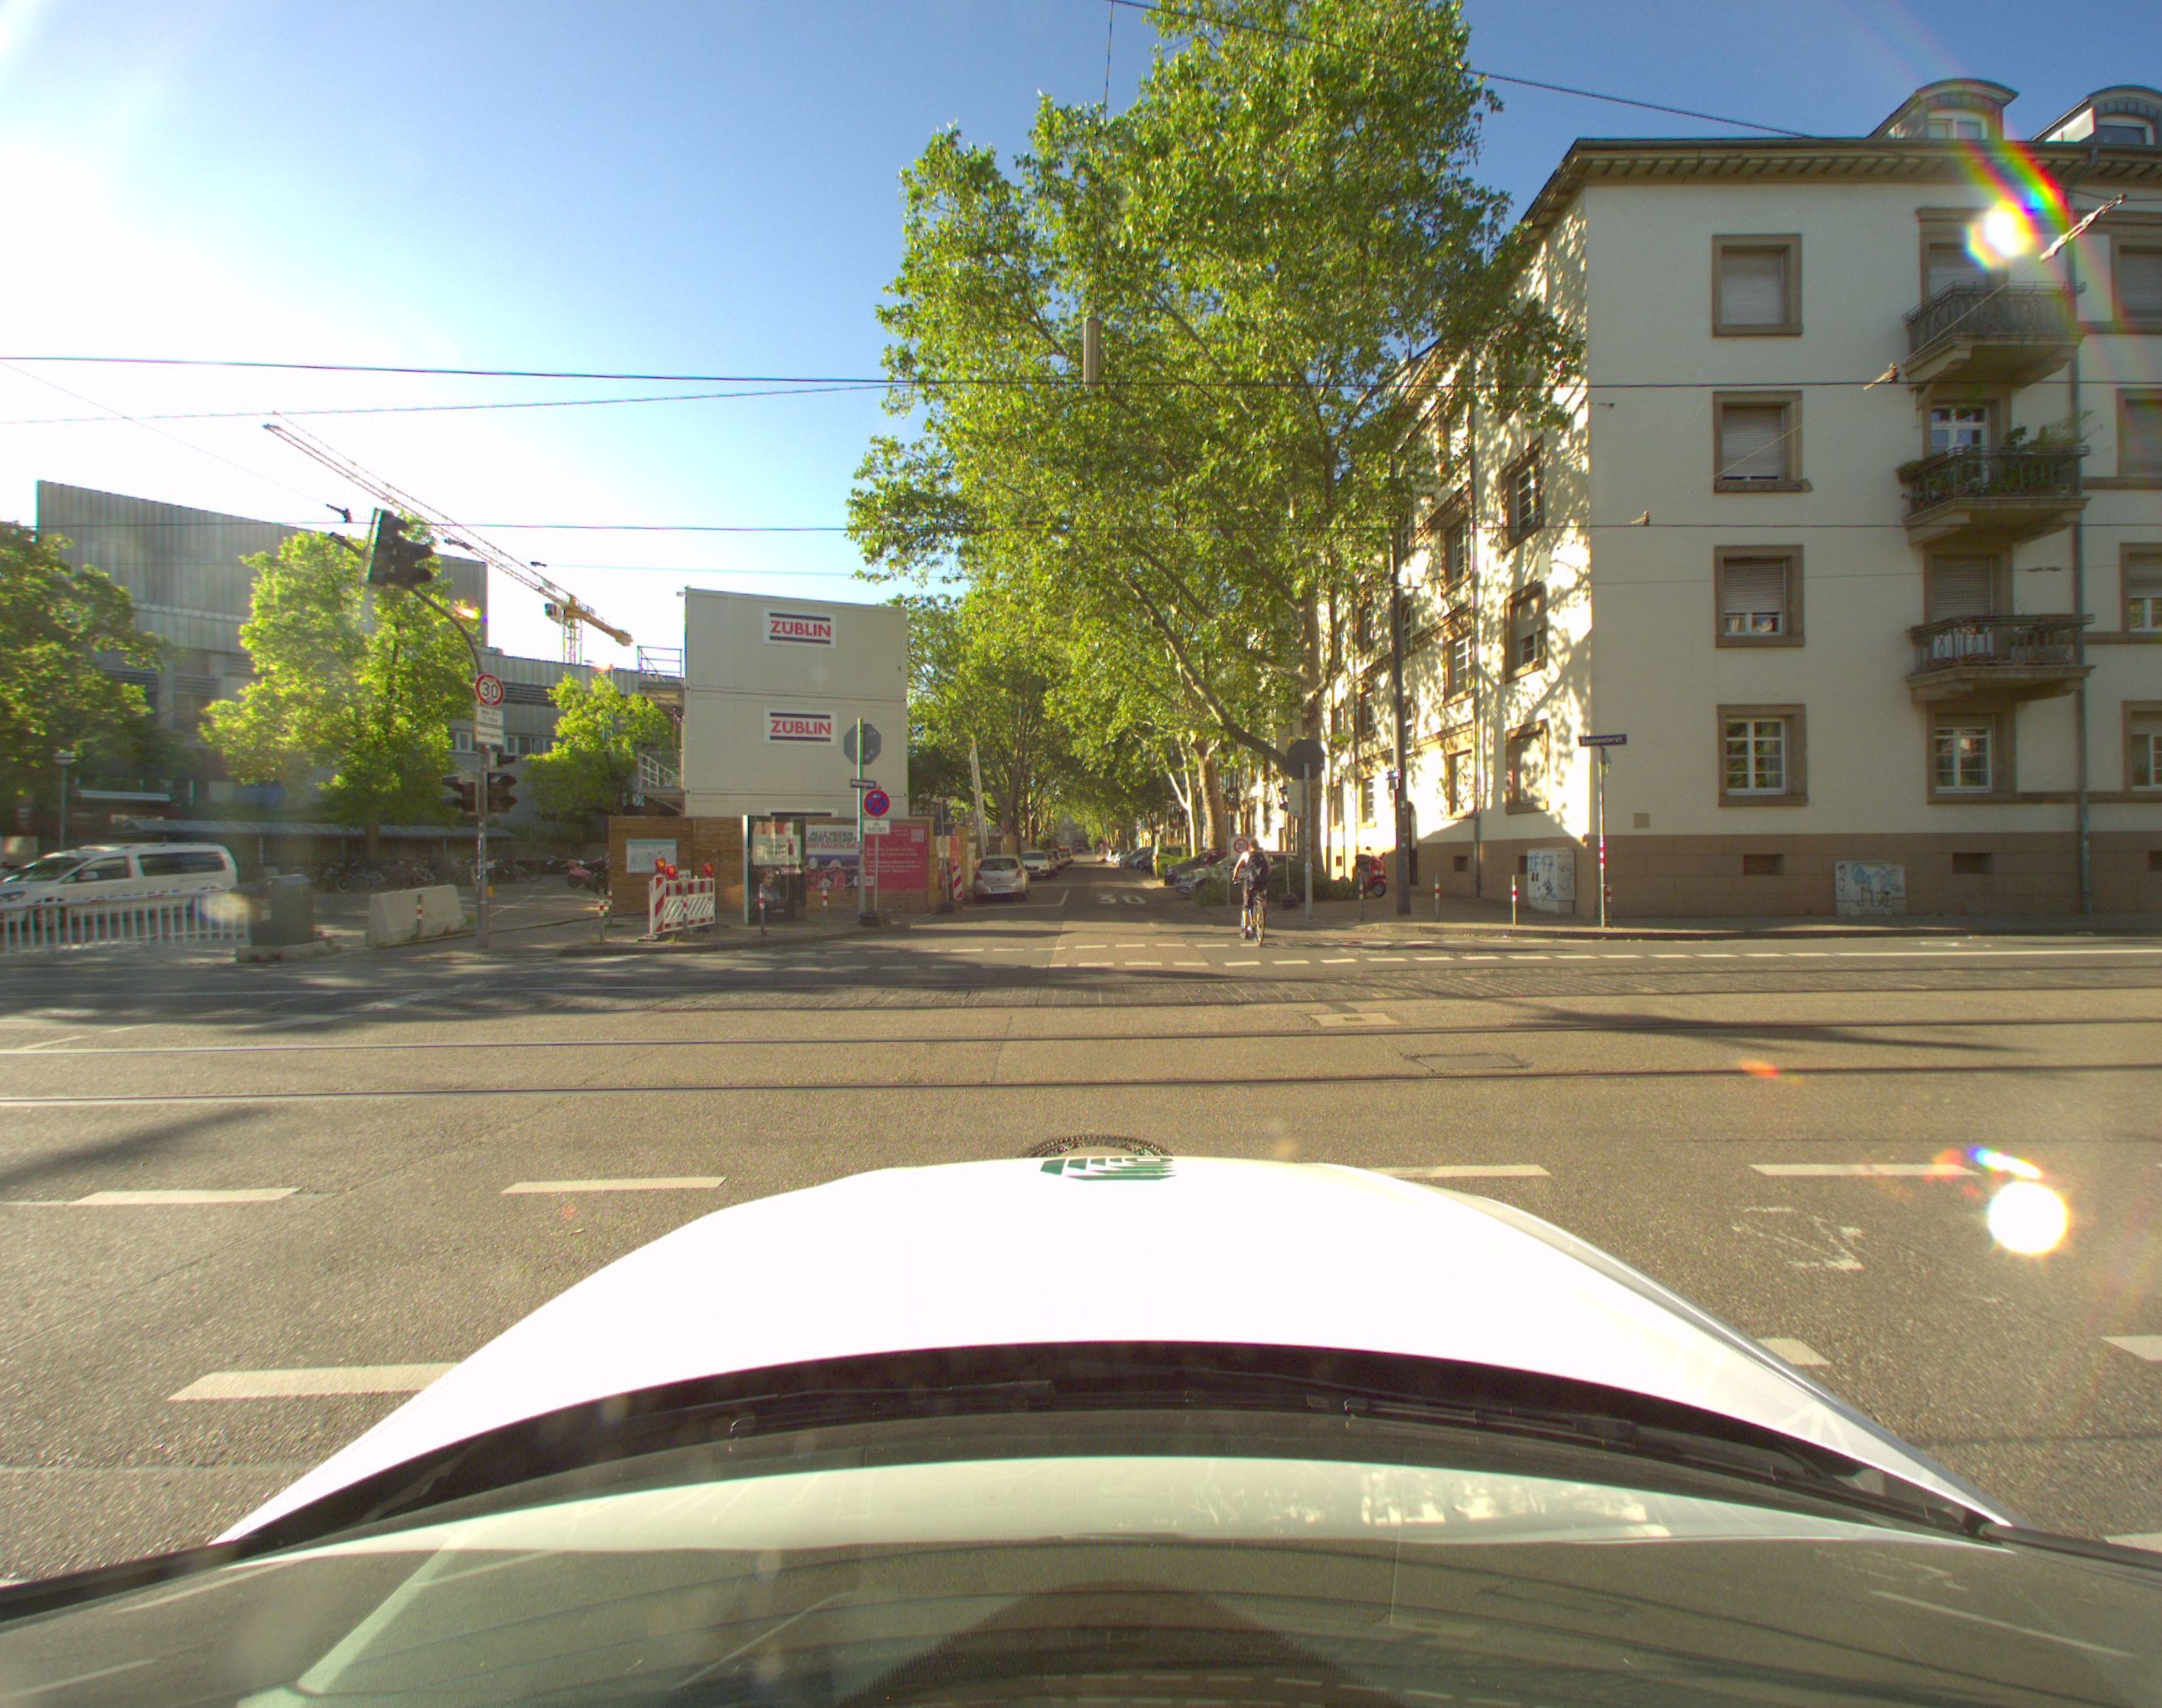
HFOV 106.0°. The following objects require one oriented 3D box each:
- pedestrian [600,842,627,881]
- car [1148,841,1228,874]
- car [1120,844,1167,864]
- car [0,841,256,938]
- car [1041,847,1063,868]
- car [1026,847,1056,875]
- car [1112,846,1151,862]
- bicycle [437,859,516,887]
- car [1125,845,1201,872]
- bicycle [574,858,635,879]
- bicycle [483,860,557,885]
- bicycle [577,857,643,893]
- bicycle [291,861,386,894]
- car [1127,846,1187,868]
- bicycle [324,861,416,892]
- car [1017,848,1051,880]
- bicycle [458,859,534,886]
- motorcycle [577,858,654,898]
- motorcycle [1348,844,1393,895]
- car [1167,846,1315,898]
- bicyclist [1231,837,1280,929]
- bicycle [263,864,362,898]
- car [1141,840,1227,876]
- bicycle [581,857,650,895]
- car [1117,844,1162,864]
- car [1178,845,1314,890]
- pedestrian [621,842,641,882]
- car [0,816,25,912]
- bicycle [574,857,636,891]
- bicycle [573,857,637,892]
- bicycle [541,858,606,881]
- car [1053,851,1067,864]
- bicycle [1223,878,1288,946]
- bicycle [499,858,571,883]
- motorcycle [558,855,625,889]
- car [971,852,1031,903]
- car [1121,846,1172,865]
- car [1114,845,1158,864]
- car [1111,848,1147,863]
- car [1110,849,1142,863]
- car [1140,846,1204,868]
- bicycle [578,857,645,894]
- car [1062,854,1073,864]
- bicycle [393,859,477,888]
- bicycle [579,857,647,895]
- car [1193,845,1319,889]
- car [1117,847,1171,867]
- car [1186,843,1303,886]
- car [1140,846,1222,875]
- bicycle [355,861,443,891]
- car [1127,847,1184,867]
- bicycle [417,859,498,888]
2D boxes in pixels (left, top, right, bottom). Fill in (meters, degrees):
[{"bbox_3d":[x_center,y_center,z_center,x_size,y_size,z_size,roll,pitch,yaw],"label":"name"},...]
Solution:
[{"bbox_3d":[-24.417,0.392,42.536,0.795,2.013,0.942,-1,0,10],"label":"pedestrian"},{"bbox_3d":[6.312,0.209,48.296,4.449,1.836,1.727,-1,0,-2],"label":"car"},{"bbox_3d":[6.100,0.005,79.777,4.449,1.898,1.727,-1,0,-1],"label":"car"},{"bbox_3d":[-23.561,0.716,19.618,1.994,1.892,4.956,0,2,5],"label":"car"},{"bbox_3d":[-2.336,0.253,65.684,1.661,1.562,4.613,-1,0,-2],"label":"car"},{"bbox_3d":[-2.383,0.396,48.928,1.661,1.562,4.516,-1,0,-2],"label":"car"},{"bbox_3d":[5.918,-0.001,95.359,4.449,1.898,1.727,-1,0,-1],"label":"car"},{"bbox_3d":[-26.581,0.840,35.836,3.061,1.147,0.824,-1,1,8],"label":"bicycle"},{"bbox_3d":[5.026,0.288,50.283,4.449,1.571,1.727,-1,0,-1],"label":"car"},{"bbox_3d":[-26.548,0.809,45.421,3.061,1.147,0.824,-1,1,8],"label":"bicycle"},{"bbox_3d":[-26.167,0.857,37.984,3.061,1.147,0.824,-1,1,8],"label":"bicycle"},{"bbox_3d":[-17.636,0.772,30.505,2.060,1.257,0.537,-1,1,-38],"label":"bicycle"},{"bbox_3d":[-27.478,0.861,30.166,3.061,1.147,0.824,-1,1,8],"label":"bicycle"},{"bbox_3d":[5.803,0.227,62.893,4.449,1.571,1.727,-1,0,-1],"label":"car"},{"bbox_3d":[-27.321,0.870,31.309,3.061,1.147,0.824,-1,1,8],"label":"bicycle"},{"bbox_3d":[-2.438,0.493,43.396,1.661,1.562,3.998,-1,0,-2],"label":"car"},{"bbox_3d":[-26.425,0.848,36.803,3.061,1.147,0.824,-1,1,8],"label":"bicycle"},{"bbox_3d":[-15.931,0.804,27.903,2.222,1.257,0.537,-1,1,-38],"label":"motorcycle"},{"bbox_3d":[7.878,0.409,22.226,0.512,1.332,1.762,-1,0,-2],"label":"motorcycle"},{"bbox_3d":[5.105,0.552,26.358,4.449,1.571,1.727,-1,0,-1],"label":"car"},{"bbox_3d":[2.960,0.477,13.854,0.674,1.513,0.668,1,0,-1],"label":"bicyclist"},{"bbox_3d":[-27.506,0.951,29.170,3.061,1.147,0.824,-1,1,8],"label":"bicycle"},{"bbox_3d":[5.562,0.219,44.332,4.449,1.836,1.727,-1,0,-2],"label":"car"},{"bbox_3d":[-16.479,0.773,28.844,2.060,1.257,0.466,-1,1,-38],"label":"bicycle"},{"bbox_3d":[5.932,0.002,82.543,4.449,1.898,1.727,-1,0,-1],"label":"car"},{"bbox_3d":[5.784,0.457,28.820,4.449,1.500,1.727,-1,0,-1],"label":"car"},{"bbox_3d":[-23.281,0.395,42.139,0.804,2.013,1.022,-1,0,-24],"label":"pedestrian"},{"bbox_3d":[-29.677,0.413,19.383,1.989,2.530,5.378,-1,3,-3],"label":"car"},{"bbox_3d":[-18.658,0.780,31.952,2.060,1.257,0.537,-1,1,-38],"label":"bicycle"},{"bbox_3d":[-18.352,0.776,31.446,2.060,1.257,0.537,-1,1,-38],"label":"bicycle"},{"bbox_3d":[-26.469,0.788,42.472,3.061,1.147,0.824,-1,1,8],"label":"bicycle"},{"bbox_3d":[-2.520,0.380,96.712,1.661,1.562,4.216,-1,0,-2],"label":"car"},{"bbox_3d":[2.956,0.962,14.000,0.687,1.016,1.907,1,0,-1],"label":"bicycle"},{"bbox_3d":[-26.076,0.794,38.917,3.061,1.147,0.824,-1,1,8],"label":"bicycle"},{"bbox_3d":[-19.632,0.700,32.695,2.222,1.257,0.537,-1,1,-38],"label":"motorcycle"},{"bbox_3d":[-2.585,0.711,27.131,1.639,1.494,3.998,-3,0,-2],"label":"car"},{"bbox_3d":[5.804,0.139,72.455,4.449,1.571,1.727,-1,0,-1],"label":"car"},{"bbox_3d":[5.749,0.002,85.411,4.449,1.898,1.727,-1,0,-1],"label":"car"},{"bbox_3d":[5.999,0.201,102.789,4.449,1.898,1.727,-1,0,-1],"label":"car"},{"bbox_3d":[6.348,0.224,114.967,4.449,1.898,1.727,-1,0,-1],"label":"car"},{"bbox_3d":[6.655,0.202,59.697,4.449,1.571,1.727,-1,0,-1],"label":"car"},{"bbox_3d":[-17.064,0.767,29.620,2.060,1.257,0.466,-1,1,-38],"label":"bicycle"},{"bbox_3d":[-2.038,0.788,126.385,1.661,1.562,4.216,-1,0,-2],"label":"car"},{"bbox_3d":[-26.908,0.825,33.925,3.061,1.147,0.824,-1,1,8],"label":"bicycle"},{"bbox_3d":[-16.780,0.766,29.211,2.060,1.257,0.466,-1,1,-38],"label":"bicycle"},{"bbox_3d":[6.631,0.481,31.196,4.449,1.571,1.727,-1,0,-1],"label":"car"},{"bbox_3d":[5.415,0.243,70.132,4.449,1.571,1.727,-1,0,-1],"label":"car"},{"bbox_3d":[6.630,0.410,33.283,4.449,1.671,1.727,-1,0,-1],"label":"car"},{"bbox_3d":[5.665,0.357,46.349,4.449,1.571,1.727,-1,0,-1],"label":"car"},{"bbox_3d":[-27.095,0.878,32.366,3.061,1.147,0.824,-1,1,8],"label":"bicycle"},{"bbox_3d":[5.943,0.234,65.369,4.449,1.571,1.727,-1,0,-1],"label":"car"},{"bbox_3d":[-26.763,0.833,34.955,3.061,1.147,0.824,-1,1,8],"label":"bicycle"}]
